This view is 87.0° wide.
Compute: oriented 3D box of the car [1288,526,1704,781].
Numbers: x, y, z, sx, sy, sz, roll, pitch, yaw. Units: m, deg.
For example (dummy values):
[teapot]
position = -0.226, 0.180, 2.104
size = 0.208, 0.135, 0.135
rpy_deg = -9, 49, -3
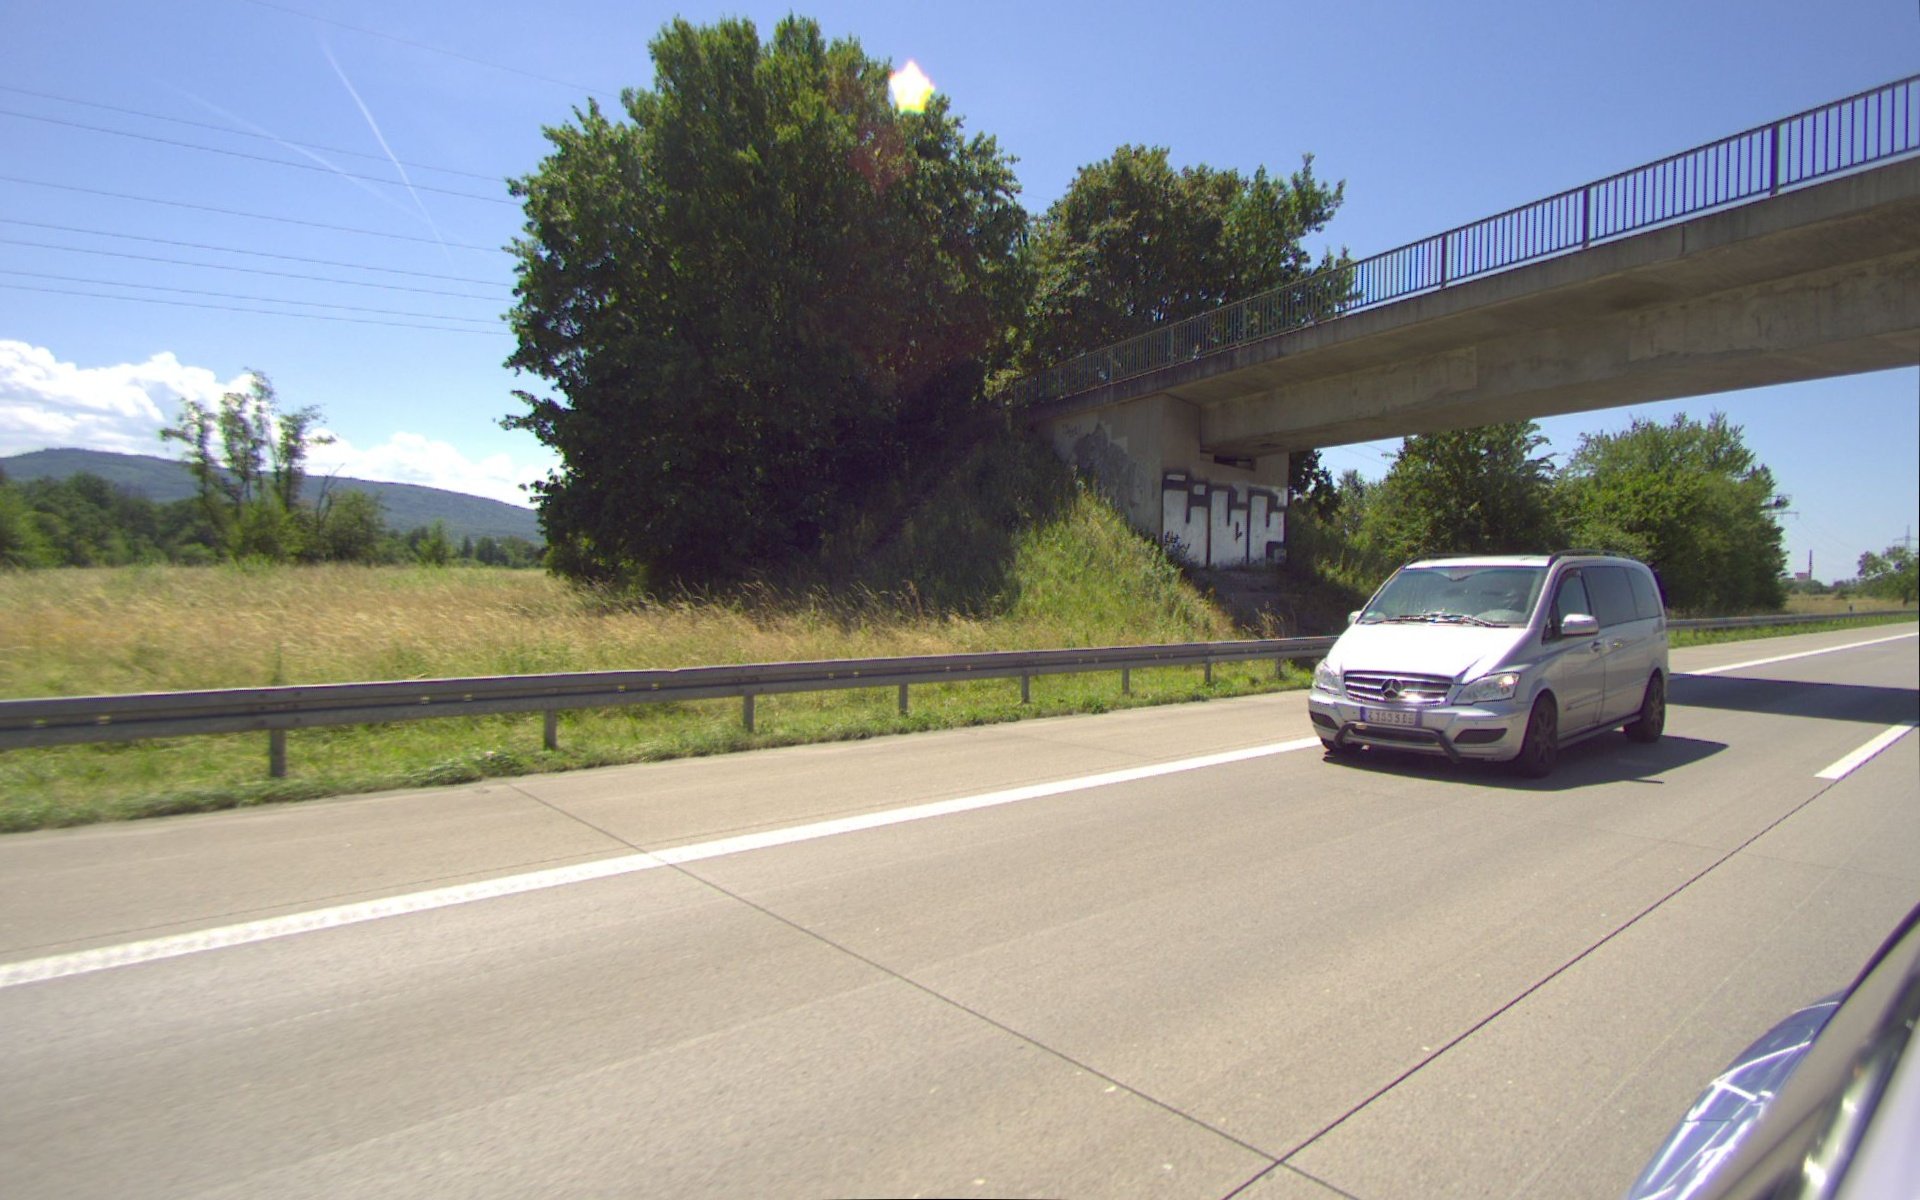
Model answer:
[car]
position = 5.492, 0.379, 9.995
size = 5.187, 1.913, 1.882
rpy_deg = 0, 1, -41
